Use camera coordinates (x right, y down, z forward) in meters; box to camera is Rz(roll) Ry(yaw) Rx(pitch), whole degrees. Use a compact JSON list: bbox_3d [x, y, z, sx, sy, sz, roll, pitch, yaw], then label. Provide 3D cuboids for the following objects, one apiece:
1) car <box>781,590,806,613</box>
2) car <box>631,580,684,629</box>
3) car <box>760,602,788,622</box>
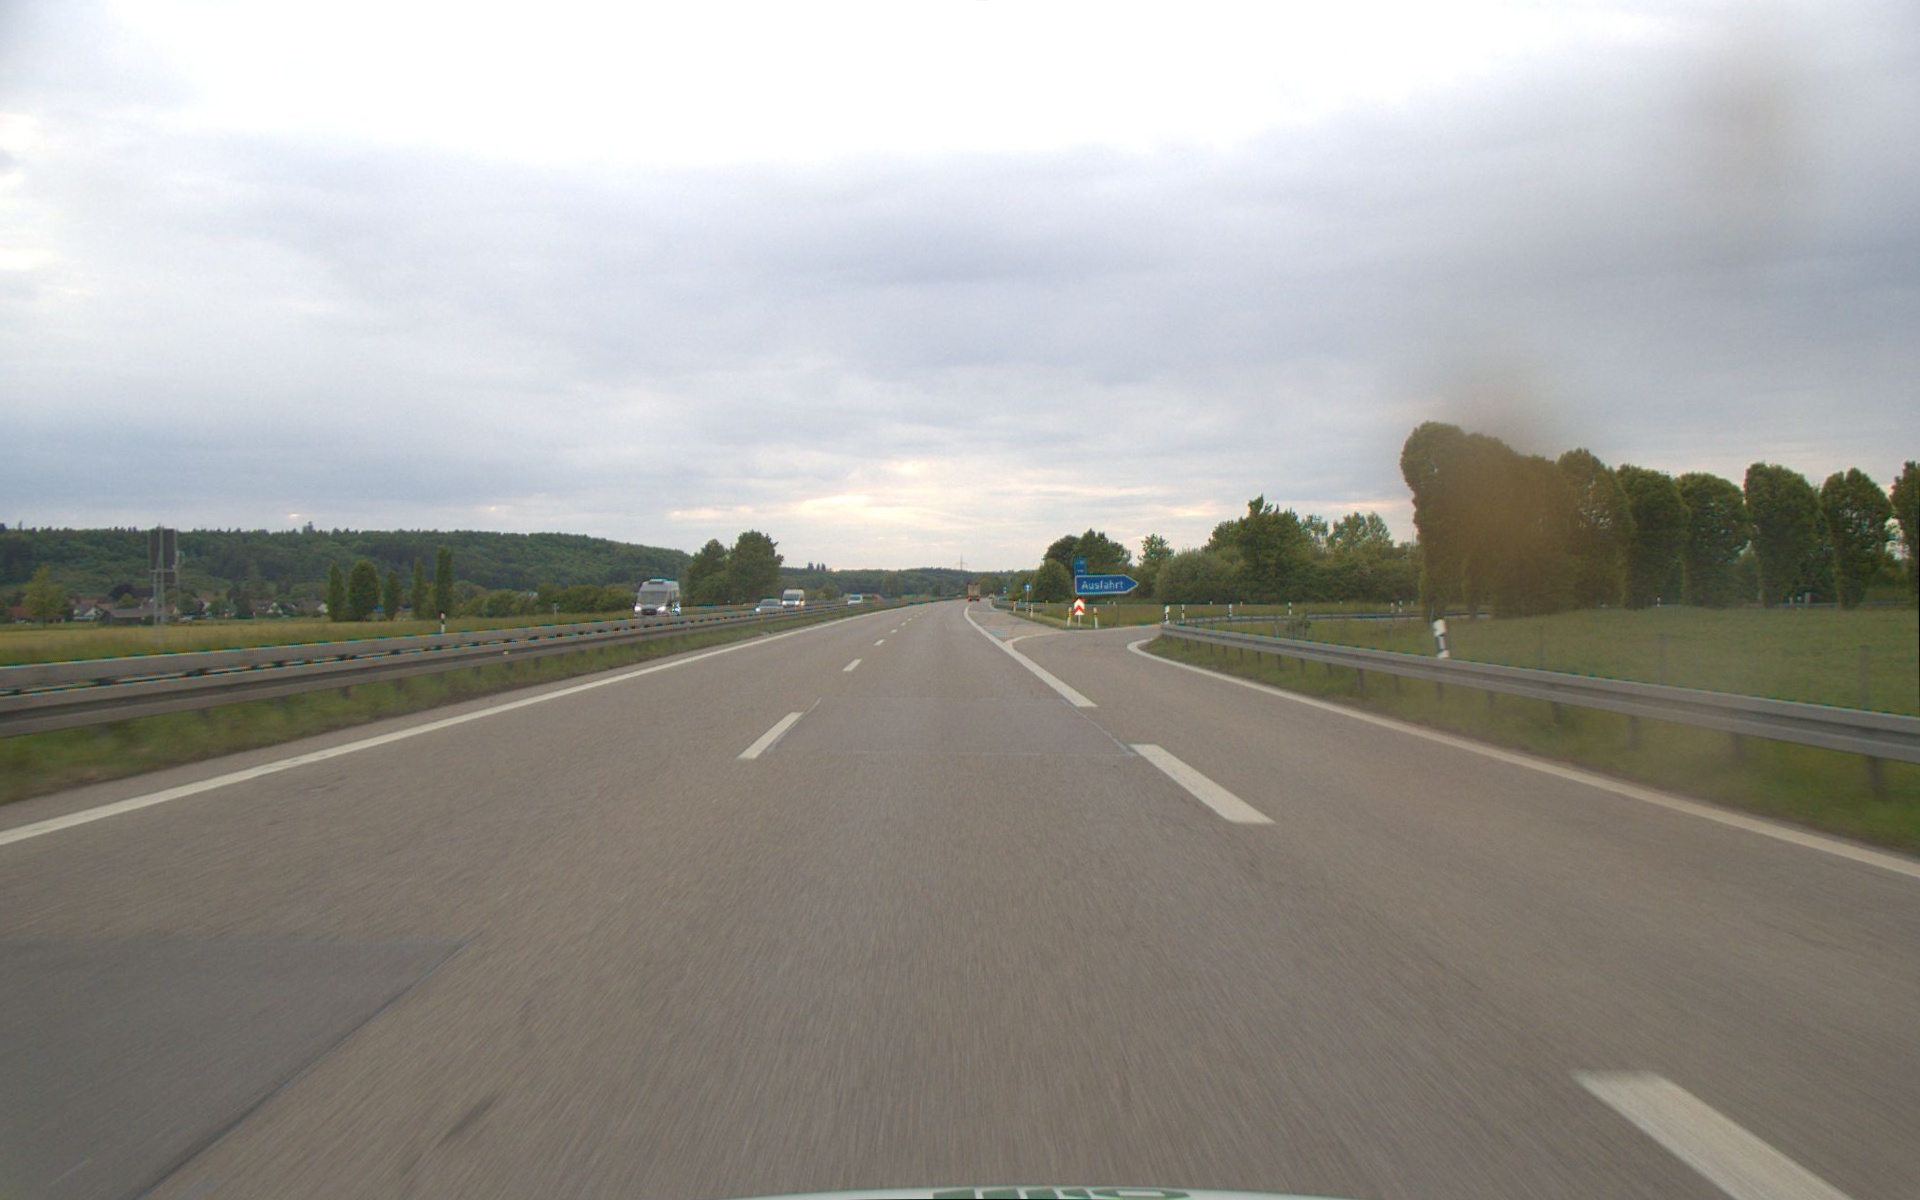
[{"bbox_3d":[-18.352,0.133,182.365,2.102,2.526,6.588,1,0,-1],"label":"car"},{"bbox_3d":[-18.493,0.267,101.414,2.063,2.850,6.426,1,0,-1],"label":"car"},{"bbox_3d":[-14.140,0.897,125.944,1.711,1.534,4.199,1,0,-1],"label":"car"}]
